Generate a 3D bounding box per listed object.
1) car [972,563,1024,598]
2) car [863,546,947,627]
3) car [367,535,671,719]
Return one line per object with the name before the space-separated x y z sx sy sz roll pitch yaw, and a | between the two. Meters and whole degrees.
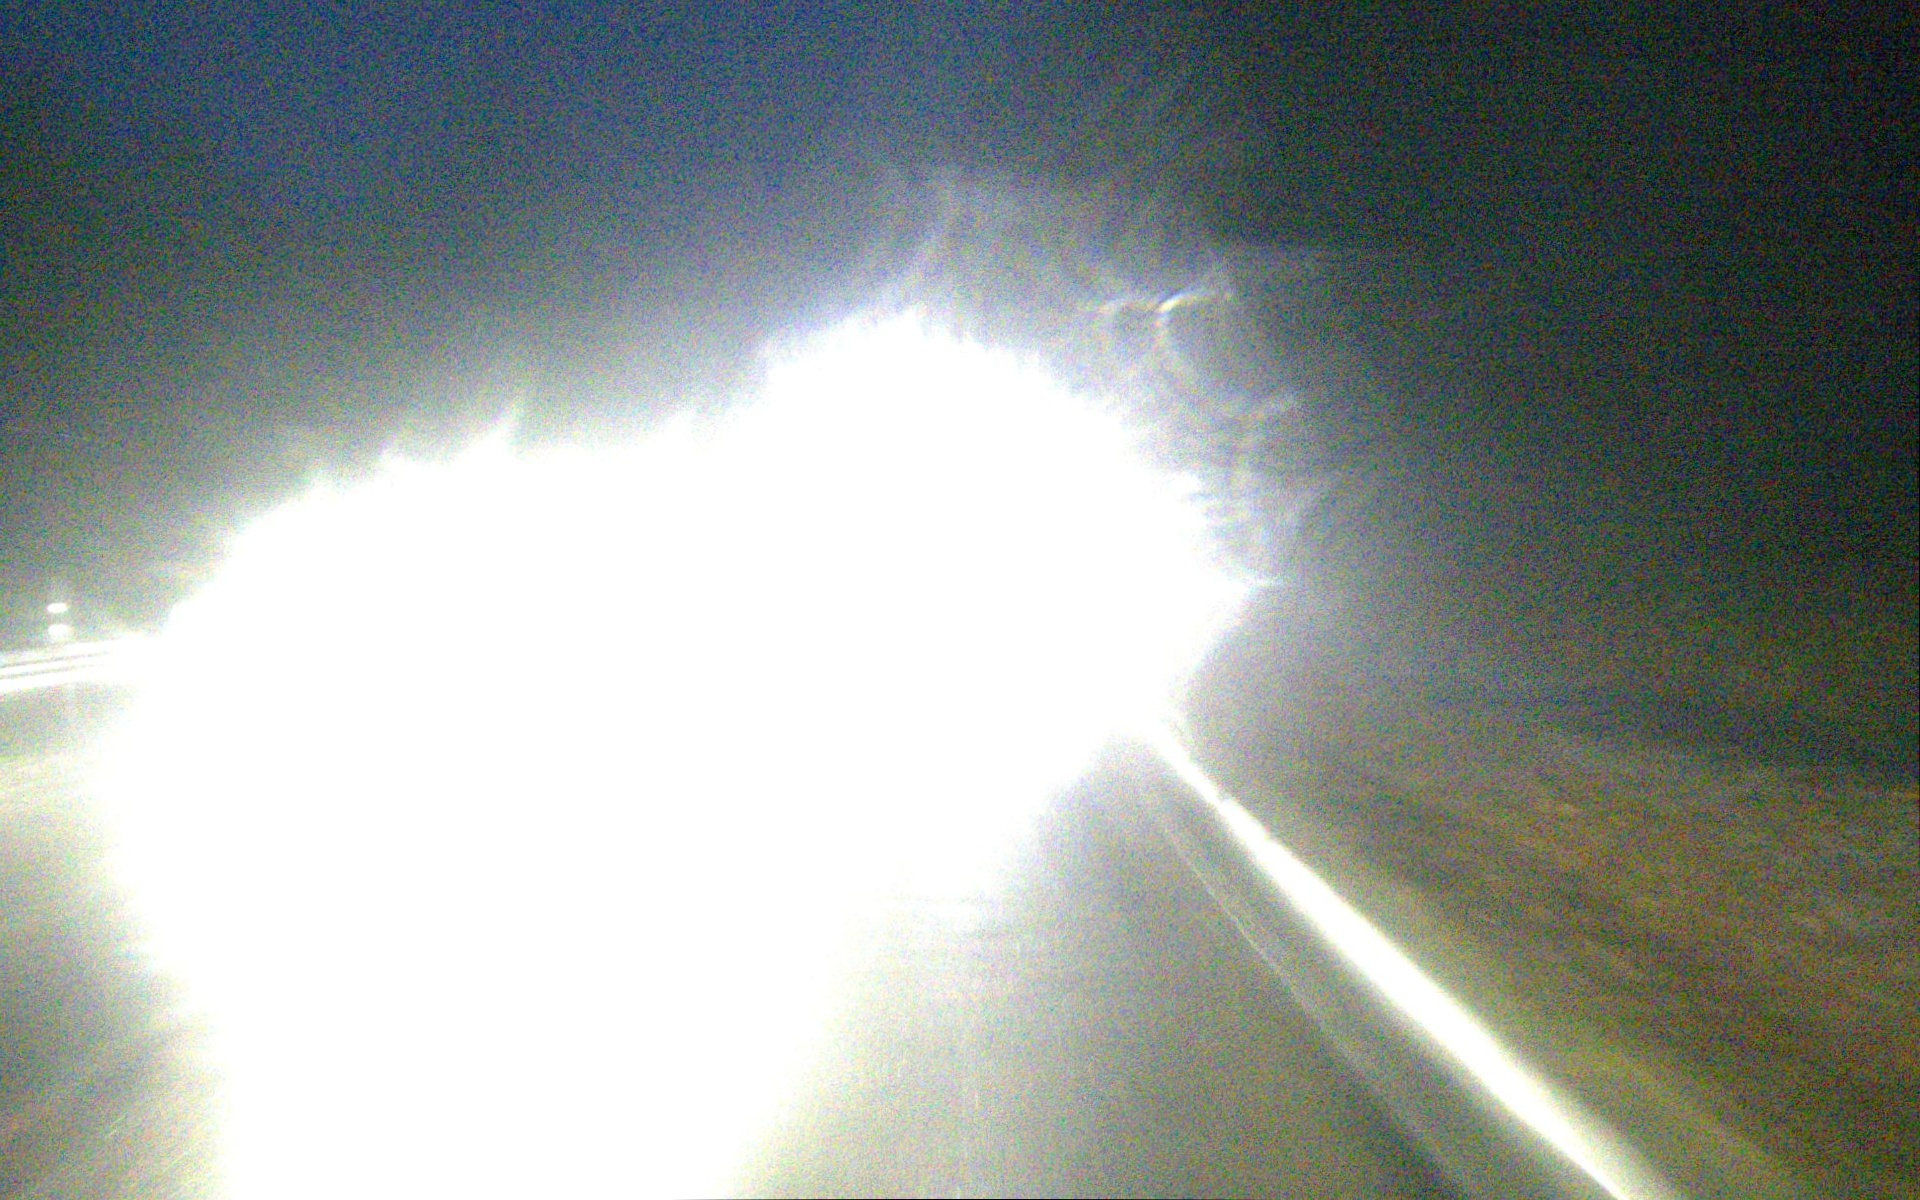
car | 1.606 -0.823 143.949 1.917 1.459 4.258 0 0 4
car | -1.325 -0.350 84.252 1.855 1.933 4.000 0 1 2
car | -3.586 0.173 28.613 1.993 1.386 3.846 1 1 0
